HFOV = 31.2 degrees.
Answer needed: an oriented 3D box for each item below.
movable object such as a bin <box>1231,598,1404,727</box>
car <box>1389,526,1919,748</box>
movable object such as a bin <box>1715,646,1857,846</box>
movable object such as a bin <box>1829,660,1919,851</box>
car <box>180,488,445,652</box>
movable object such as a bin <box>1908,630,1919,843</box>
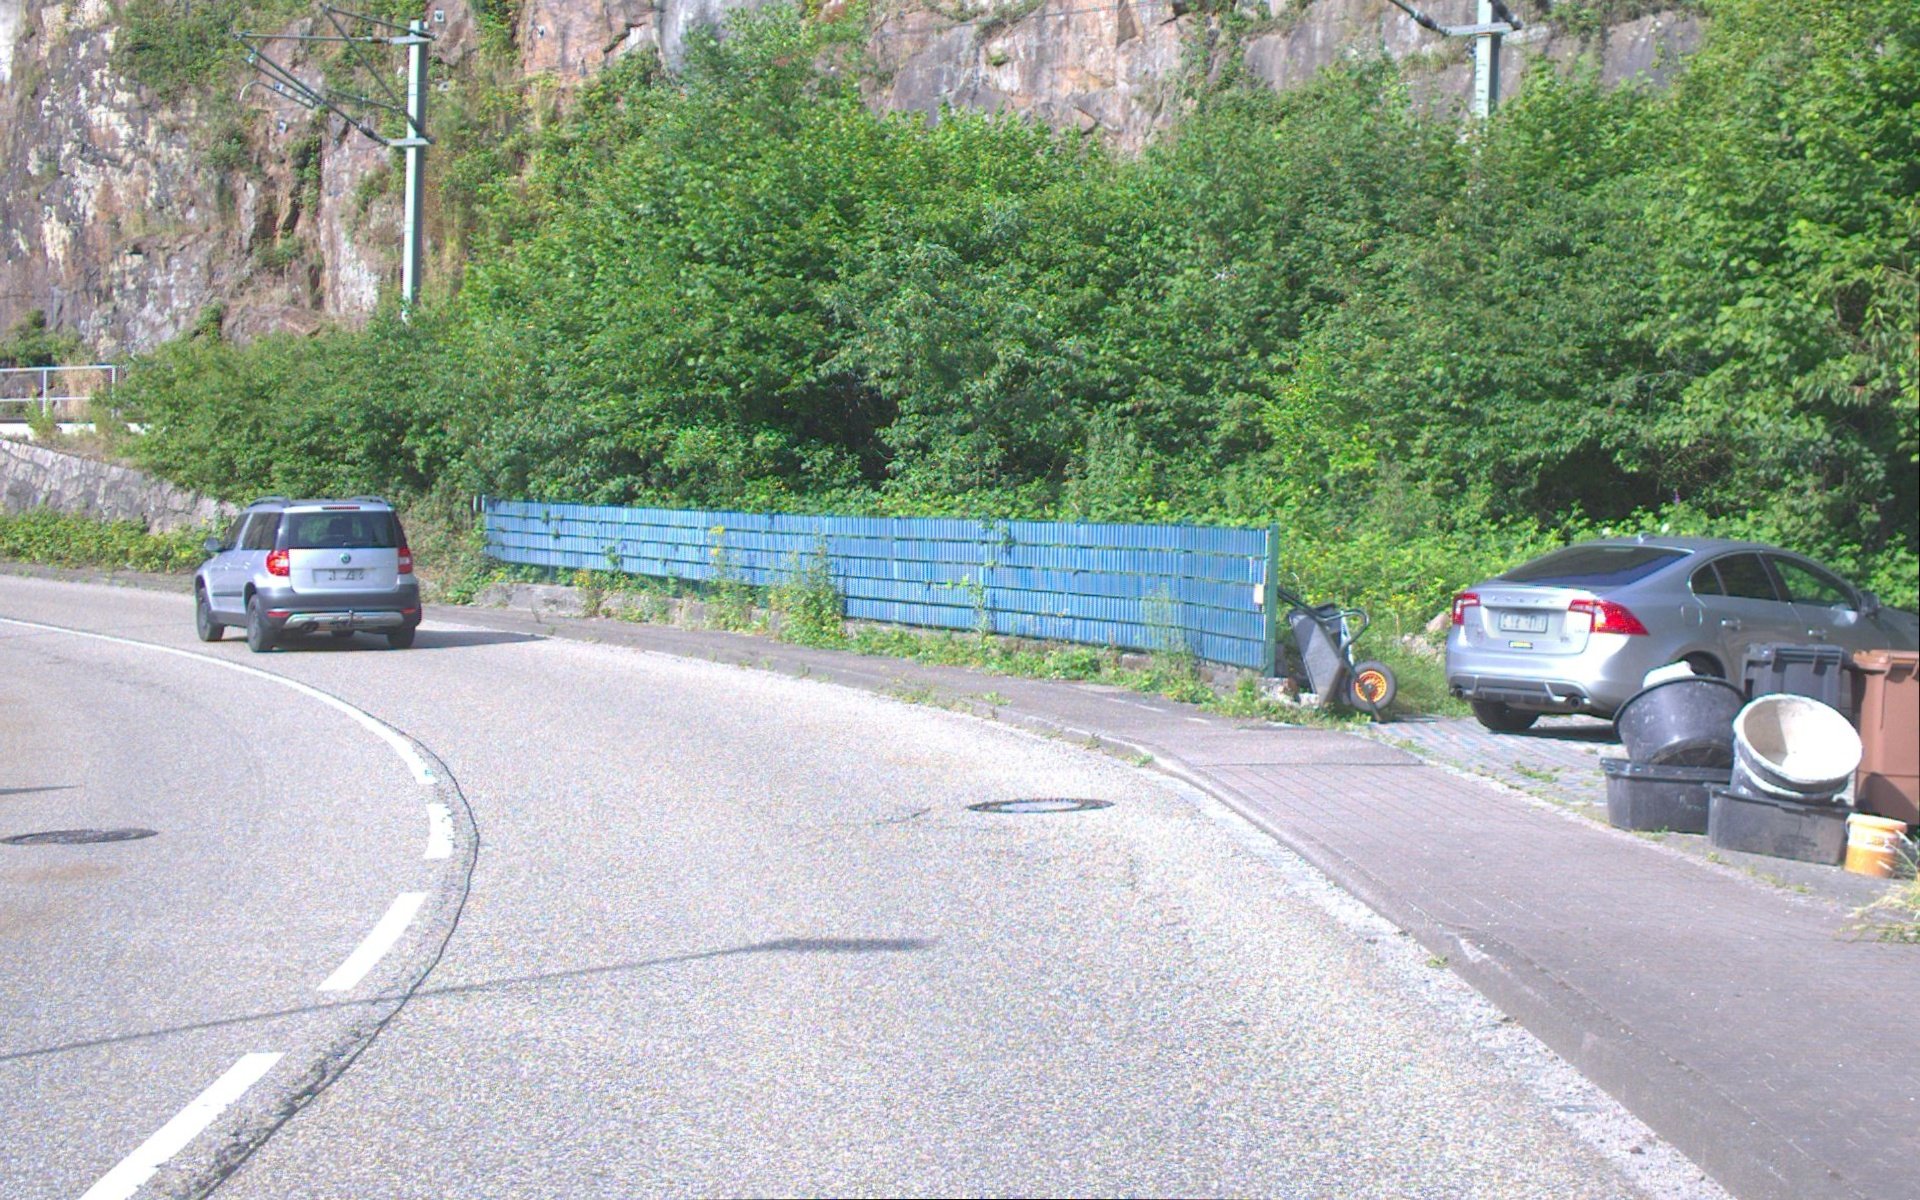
[{"bbox_3d":[2.684,0.449,26.116,0.855,0.844,2.539,3,1,-4],"label":"movable object such as a bin"},{"bbox_3d":[5.226,0.255,24.733,4.317,1.464,1.837,1,0,-42],"label":"car"},{"bbox_3d":[4.106,0.718,17.115,0.471,0.933,0.652,2,1,-4],"label":"movable object such as a bin"},{"bbox_3d":[4.606,0.764,17.002,0.367,0.897,0.547,2,1,-10],"label":"movable object such as a bin"},{"bbox_3d":[-7.254,-0.382,38.238,1.872,1.650,4.001,-2,3,-26],"label":"car"},{"bbox_3d":[5.064,0.697,16.974,0.477,1.059,0.753,2,1,-4],"label":"movable object such as a bin"}]
